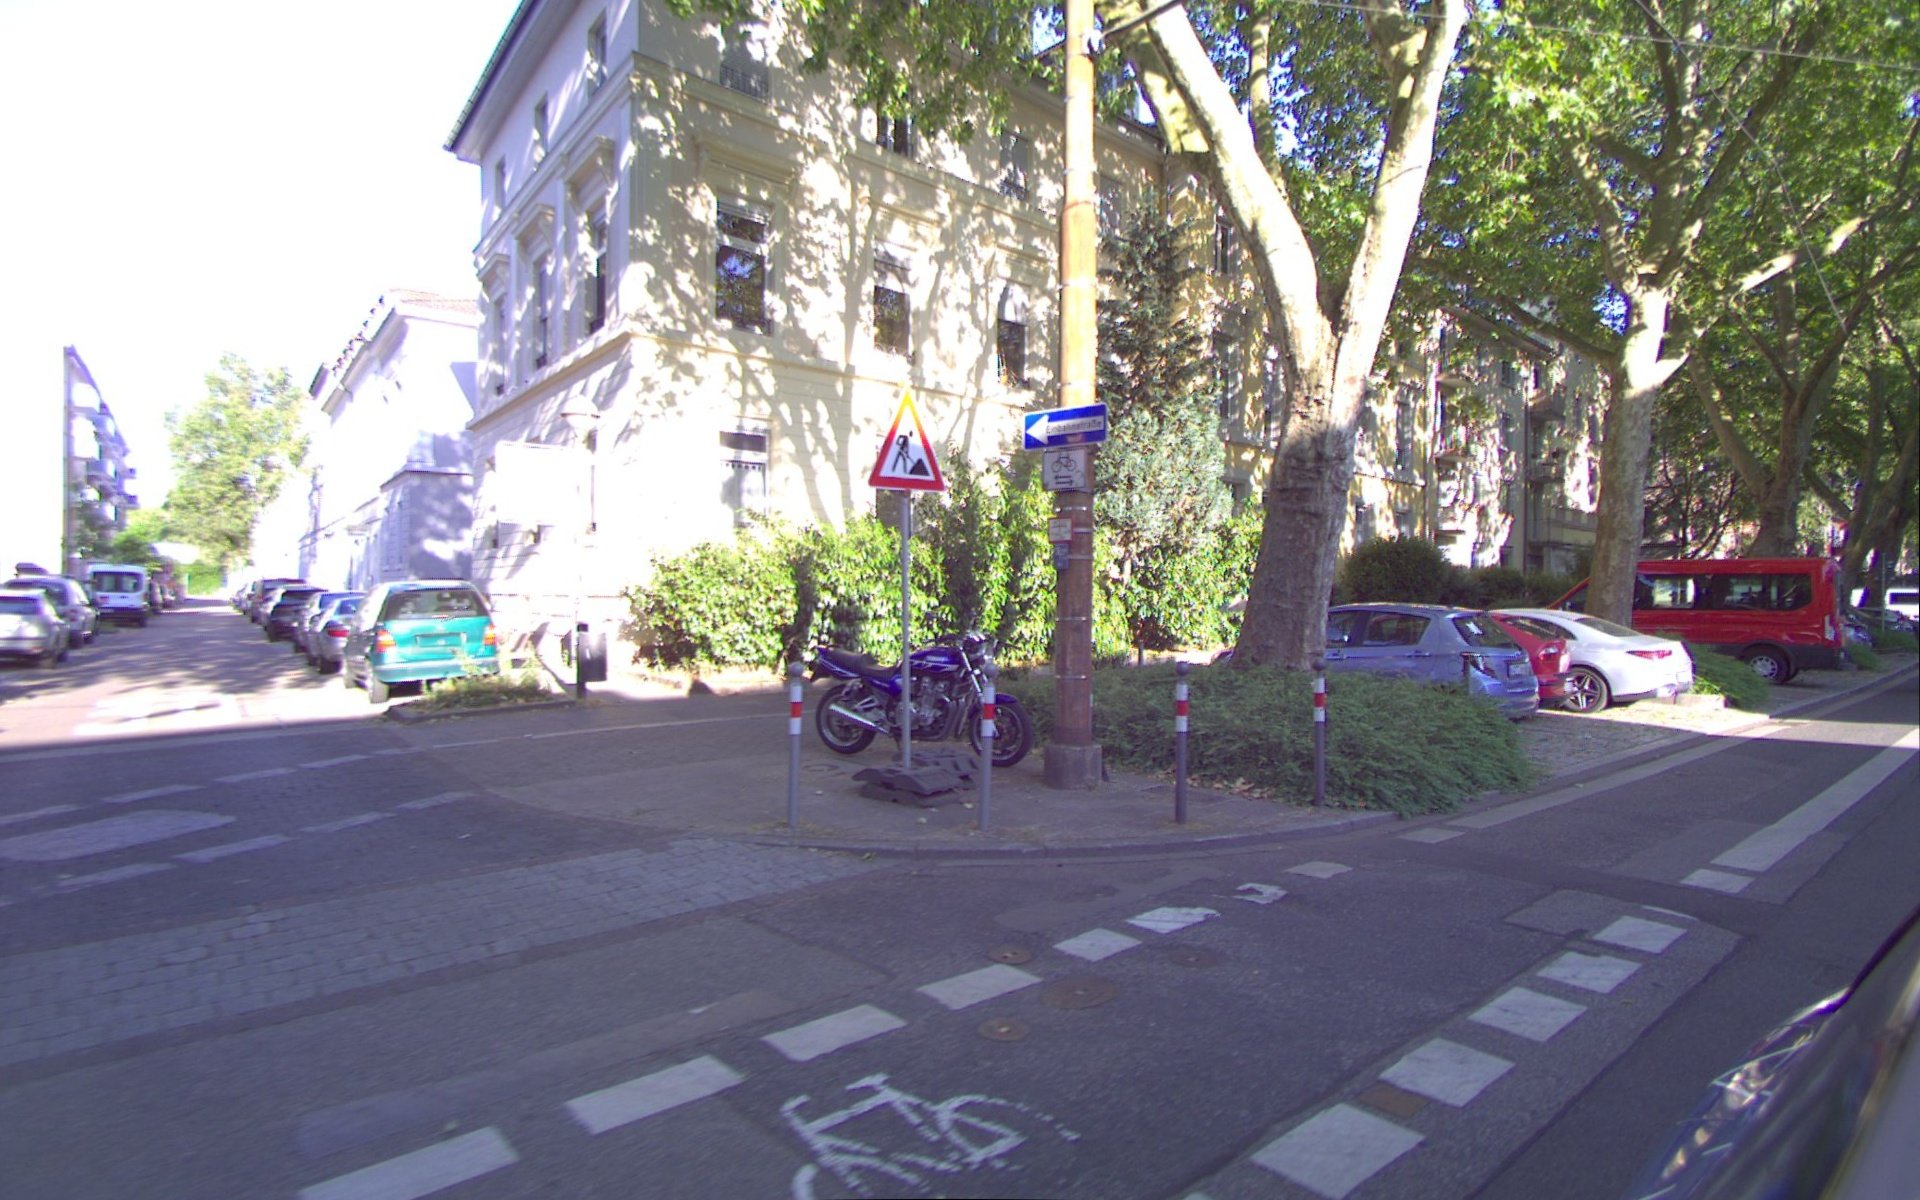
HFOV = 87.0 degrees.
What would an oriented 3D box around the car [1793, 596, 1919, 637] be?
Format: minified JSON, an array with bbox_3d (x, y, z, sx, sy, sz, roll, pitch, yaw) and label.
[{"bbox_3d":[36.180,0.623,40.730,4.027,1.498,1.655,2,1,43],"label":"car"}]

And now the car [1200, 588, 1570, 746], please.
[{"bbox_3d":[4.958,0.661,12.194,1.652,1.527,3.758,0,1,-41],"label":"car"}]

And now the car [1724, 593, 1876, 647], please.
[{"bbox_3d":[27.204,0.602,32.851,1.514,1.619,3.601,-1,1,-41],"label":"car"}]

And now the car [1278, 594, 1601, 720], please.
[{"bbox_3d":[6.599,0.677,14.166,3.751,1.404,1.655,3,2,43],"label":"car"}]

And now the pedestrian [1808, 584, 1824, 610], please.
[{"bbox_3d":[55.430,-0.223,65.548,0.587,1.672,0.703,0,0,22],"label":"pedestrian"}]

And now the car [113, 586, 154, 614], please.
[{"bbox_3d":[-48.934,-0.032,59.939,1.600,1.570,3.482,-2,2,-36],"label":"car"}]

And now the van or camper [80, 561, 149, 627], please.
[{"bbox_3d":[-35.077,-0.271,42.081,1.846,2.550,4.431,-2,2,-36],"label":"van or camper"}]

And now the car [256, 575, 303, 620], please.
[{"bbox_3d":[-29.726,-0.120,44.154,1.600,1.846,3.708,-2,2,-35],"label":"car"}]

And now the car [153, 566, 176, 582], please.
[{"bbox_3d":[-79.435,-2.572,101.057,1.600,1.570,3.482,-2,2,-36],"label":"car"}]

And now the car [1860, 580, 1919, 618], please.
[{"bbox_3d":[58.830,-0.065,61.448,1.970,2.311,6.004,1,0,-40],"label":"car"}]

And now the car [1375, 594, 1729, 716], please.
[{"bbox_3d":[8.785,0.709,15.356,1.728,1.434,4.296,0,2,-40],"label":"car"}]

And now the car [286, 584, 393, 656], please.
[{"bbox_3d":[-14.037,0.391,22.792,1.627,1.431,4.084,-2,2,-37],"label":"car"}]

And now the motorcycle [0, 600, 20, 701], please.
[{"bbox_3d":[-13.613,0.668,13.051,2.137,1.313,0.497,0,-1,-22],"label":"motorcycle"}]

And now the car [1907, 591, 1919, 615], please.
[{"bbox_3d":[67.867,0.224,69.581,1.767,1.676,3.957,-1,2,-44],"label":"car"}]

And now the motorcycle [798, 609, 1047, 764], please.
[{"bbox_3d":[-0.349,0.714,8.795,2.145,1.243,0.471,-1,-1,22],"label":"motorcycle"}]

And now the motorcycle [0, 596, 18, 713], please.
[{"bbox_3d":[-12.976,0.671,12.229,2.239,1.449,0.570,1,-1,-26],"label":"motorcycle"}]

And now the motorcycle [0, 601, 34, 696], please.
[{"bbox_3d":[-14.274,0.700,13.975,2.137,1.313,0.497,-2,0,-22],"label":"motorcycle"}]

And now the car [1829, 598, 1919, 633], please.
[{"bbox_3d":[43.203,0.699,46.894,1.795,1.510,4.111,0,1,-33],"label":"car"}]

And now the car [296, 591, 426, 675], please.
[{"bbox_3d":[-11.142,0.528,18.715,1.601,1.341,3.665,-2,2,-38],"label":"car"}]

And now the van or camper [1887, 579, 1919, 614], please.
[{"bbox_3d":[71.992,-0.224,74.028,2.071,2.522,6.041,0,1,-42],"label":"van or camper"}]

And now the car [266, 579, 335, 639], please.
[{"bbox_3d":[-19.896,0.233,30.479,1.600,1.670,3.708,-2,2,-35],"label":"car"}]

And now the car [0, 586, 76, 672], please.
[{"bbox_3d":[-18.817,0.530,20.039,1.600,1.570,3.482,-2,2,-36],"label":"car"}]

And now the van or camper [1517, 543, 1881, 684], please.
[{"bbox_3d":[15.328,0.131,21.314,2.249,2.550,5.822,1,2,-43],"label":"van or camper"}]

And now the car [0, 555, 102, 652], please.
[{"bbox_3d":[-24.371,0.055,26.973,1.921,2.378,4.372,-2,2,-36],"label":"car"}]

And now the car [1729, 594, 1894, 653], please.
[{"bbox_3d":[25.661,0.664,30.577,1.664,1.536,3.602,0,2,-41],"label":"car"}]

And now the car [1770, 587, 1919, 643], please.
[{"bbox_3d":[32.449,0.498,36.951,1.818,1.740,4.267,0,3,-44],"label":"car"}]

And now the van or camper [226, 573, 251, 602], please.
[{"bbox_3d":[-60.537,-1.047,84.881,1.600,2.304,4.789,-2,2,-36],"label":"van or camper"}]

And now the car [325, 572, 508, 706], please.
[{"bbox_3d":[-7.866,0.443,14.506,1.602,1.608,3.479,-4,4,-39],"label":"car"}]
